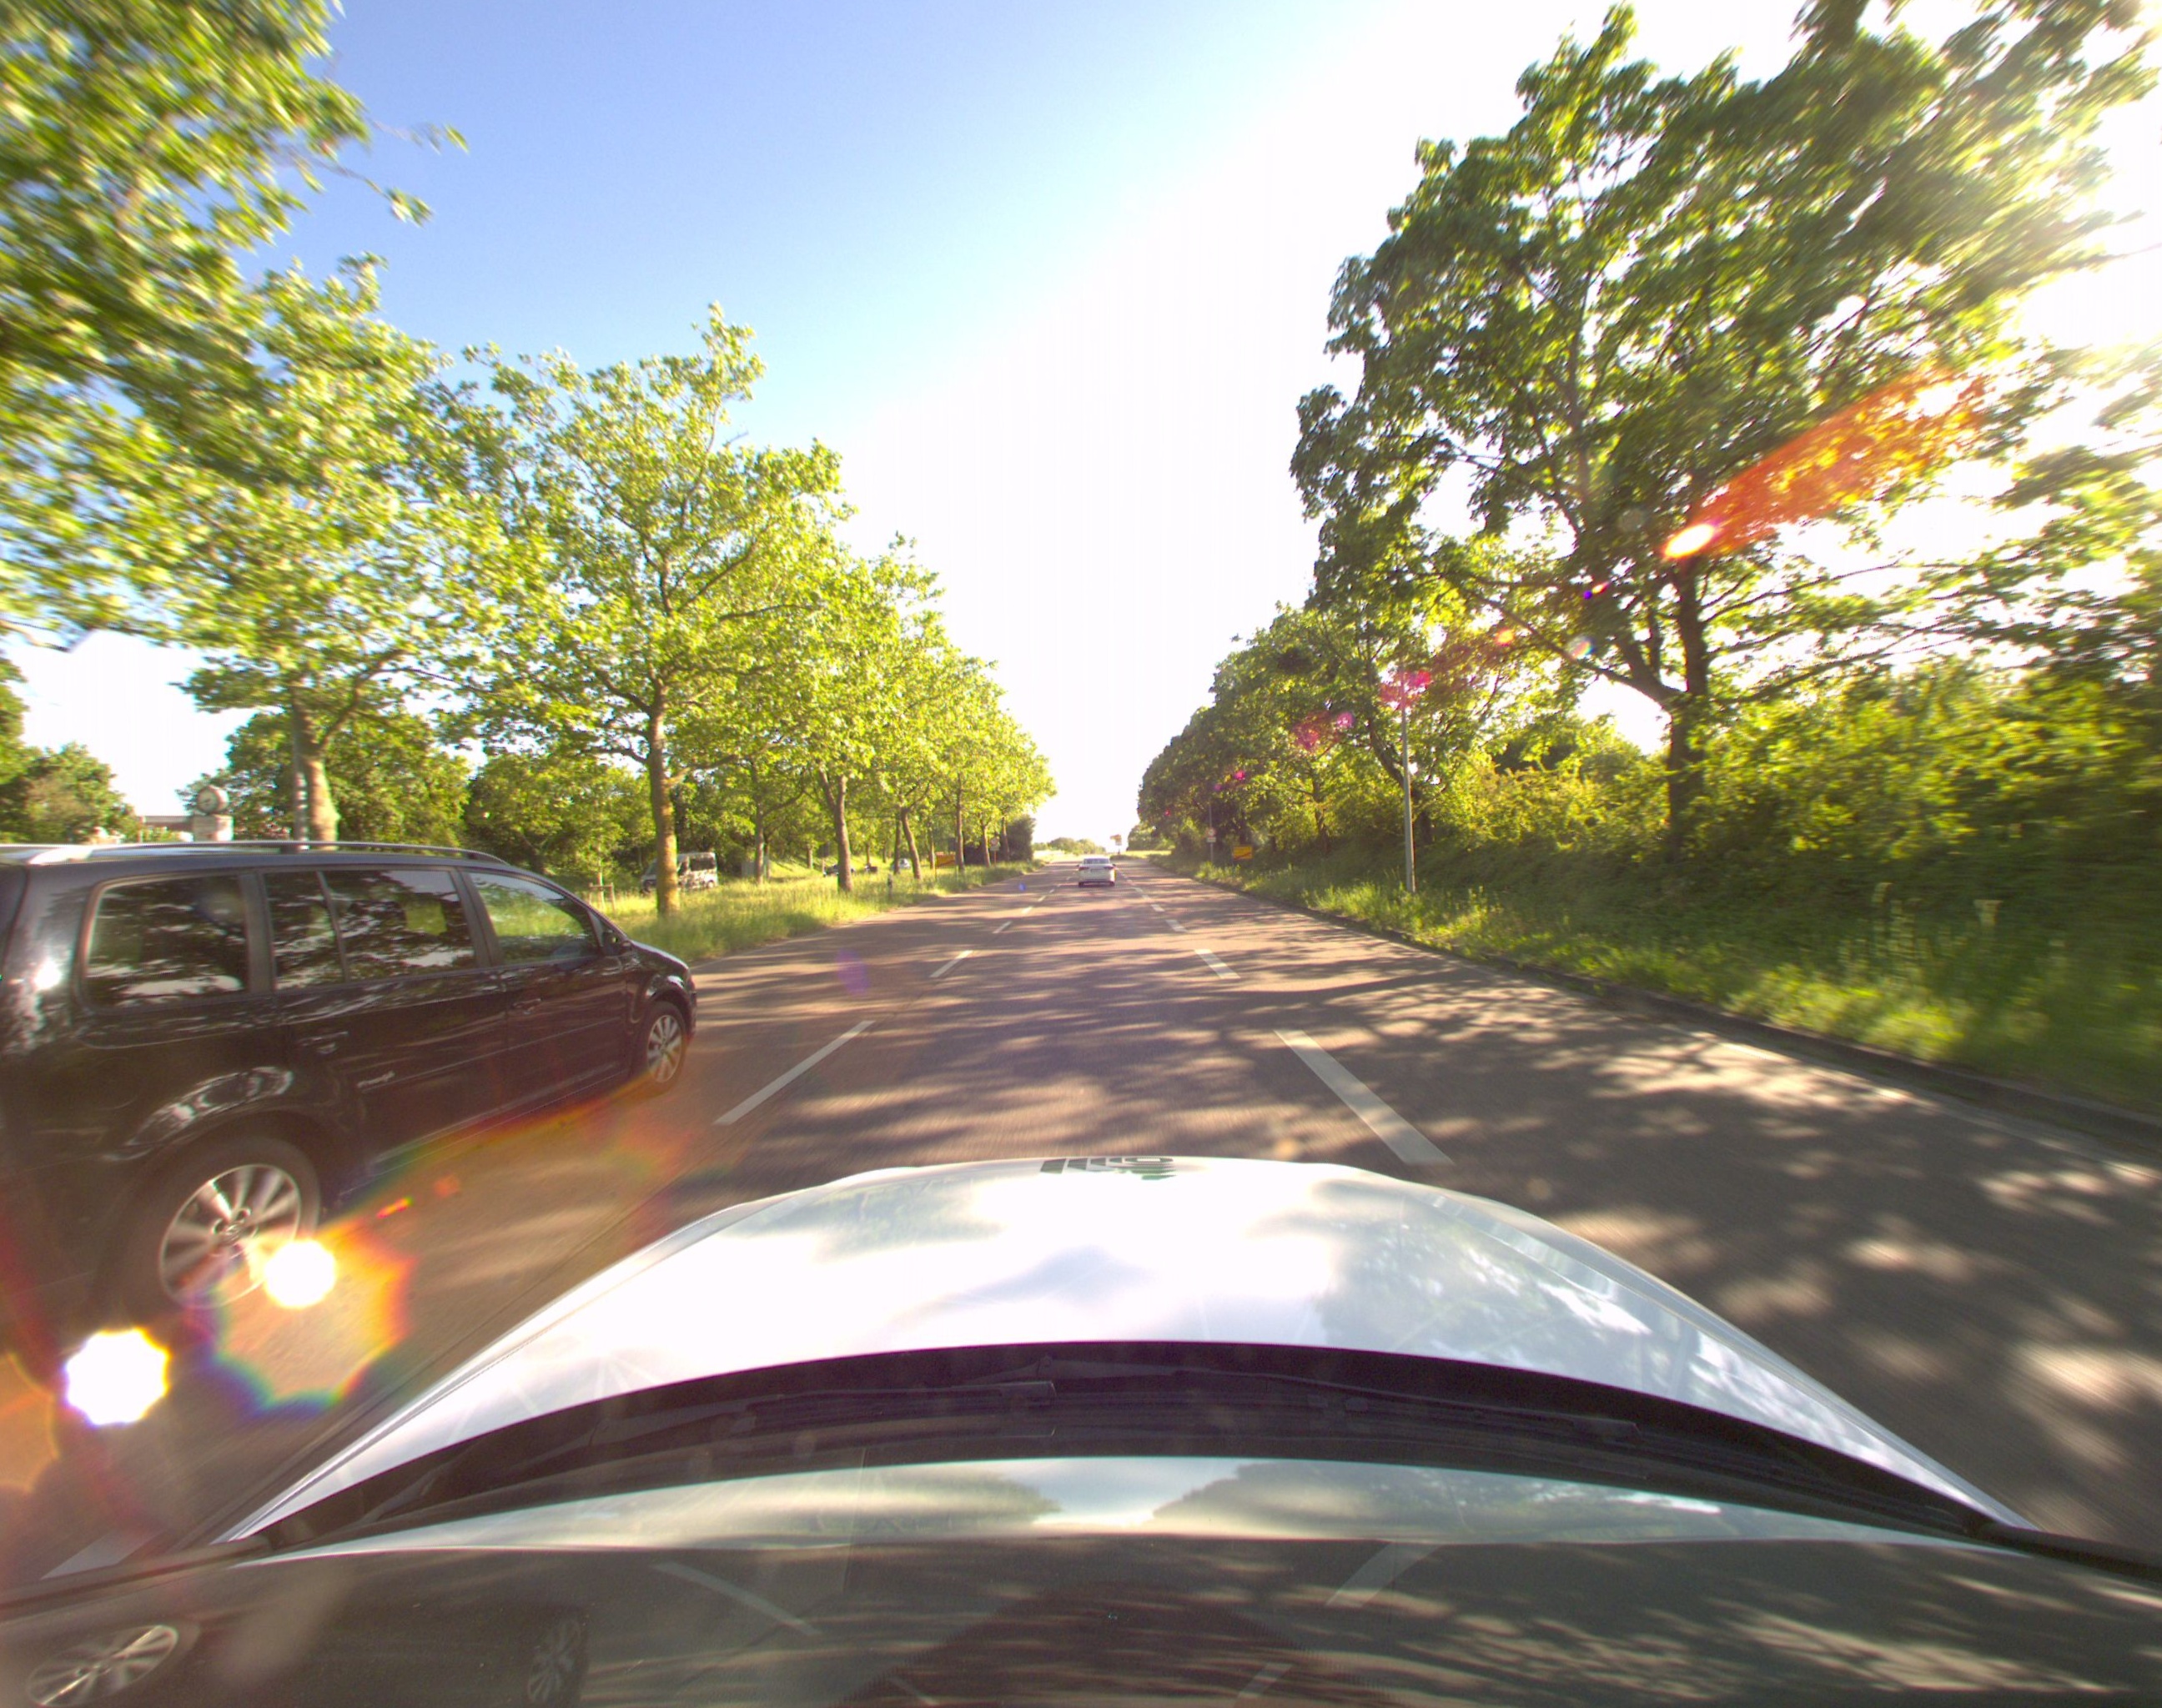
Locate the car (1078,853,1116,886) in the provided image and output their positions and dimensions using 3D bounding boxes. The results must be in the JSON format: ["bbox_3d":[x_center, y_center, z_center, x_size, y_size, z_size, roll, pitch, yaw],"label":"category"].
[{"bbox_3d":[0.826,0.734,40.859,1.761,1.464,4.367,-2,0,1],"label":"car"}]

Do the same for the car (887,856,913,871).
[{"bbox_3d":[-19.974,1.048,90.075,1.761,1.464,4.368,-2,0,1],"label":"car"}]

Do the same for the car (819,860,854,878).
[{"bbox_3d":[-22.514,1.358,75.210,1.761,1.464,4.368,-2,0,1],"label":"car"}]

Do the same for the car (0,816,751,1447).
[{"bbox_3d":[-3.637,0.739,4.149,1.761,1.644,4.925,-1,0,2],"label":"car"}]

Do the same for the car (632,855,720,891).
[{"bbox_3d":[-23.540,1.053,47.640,2.127,1.901,5.744,-2,0,1],"label":"car"}]
